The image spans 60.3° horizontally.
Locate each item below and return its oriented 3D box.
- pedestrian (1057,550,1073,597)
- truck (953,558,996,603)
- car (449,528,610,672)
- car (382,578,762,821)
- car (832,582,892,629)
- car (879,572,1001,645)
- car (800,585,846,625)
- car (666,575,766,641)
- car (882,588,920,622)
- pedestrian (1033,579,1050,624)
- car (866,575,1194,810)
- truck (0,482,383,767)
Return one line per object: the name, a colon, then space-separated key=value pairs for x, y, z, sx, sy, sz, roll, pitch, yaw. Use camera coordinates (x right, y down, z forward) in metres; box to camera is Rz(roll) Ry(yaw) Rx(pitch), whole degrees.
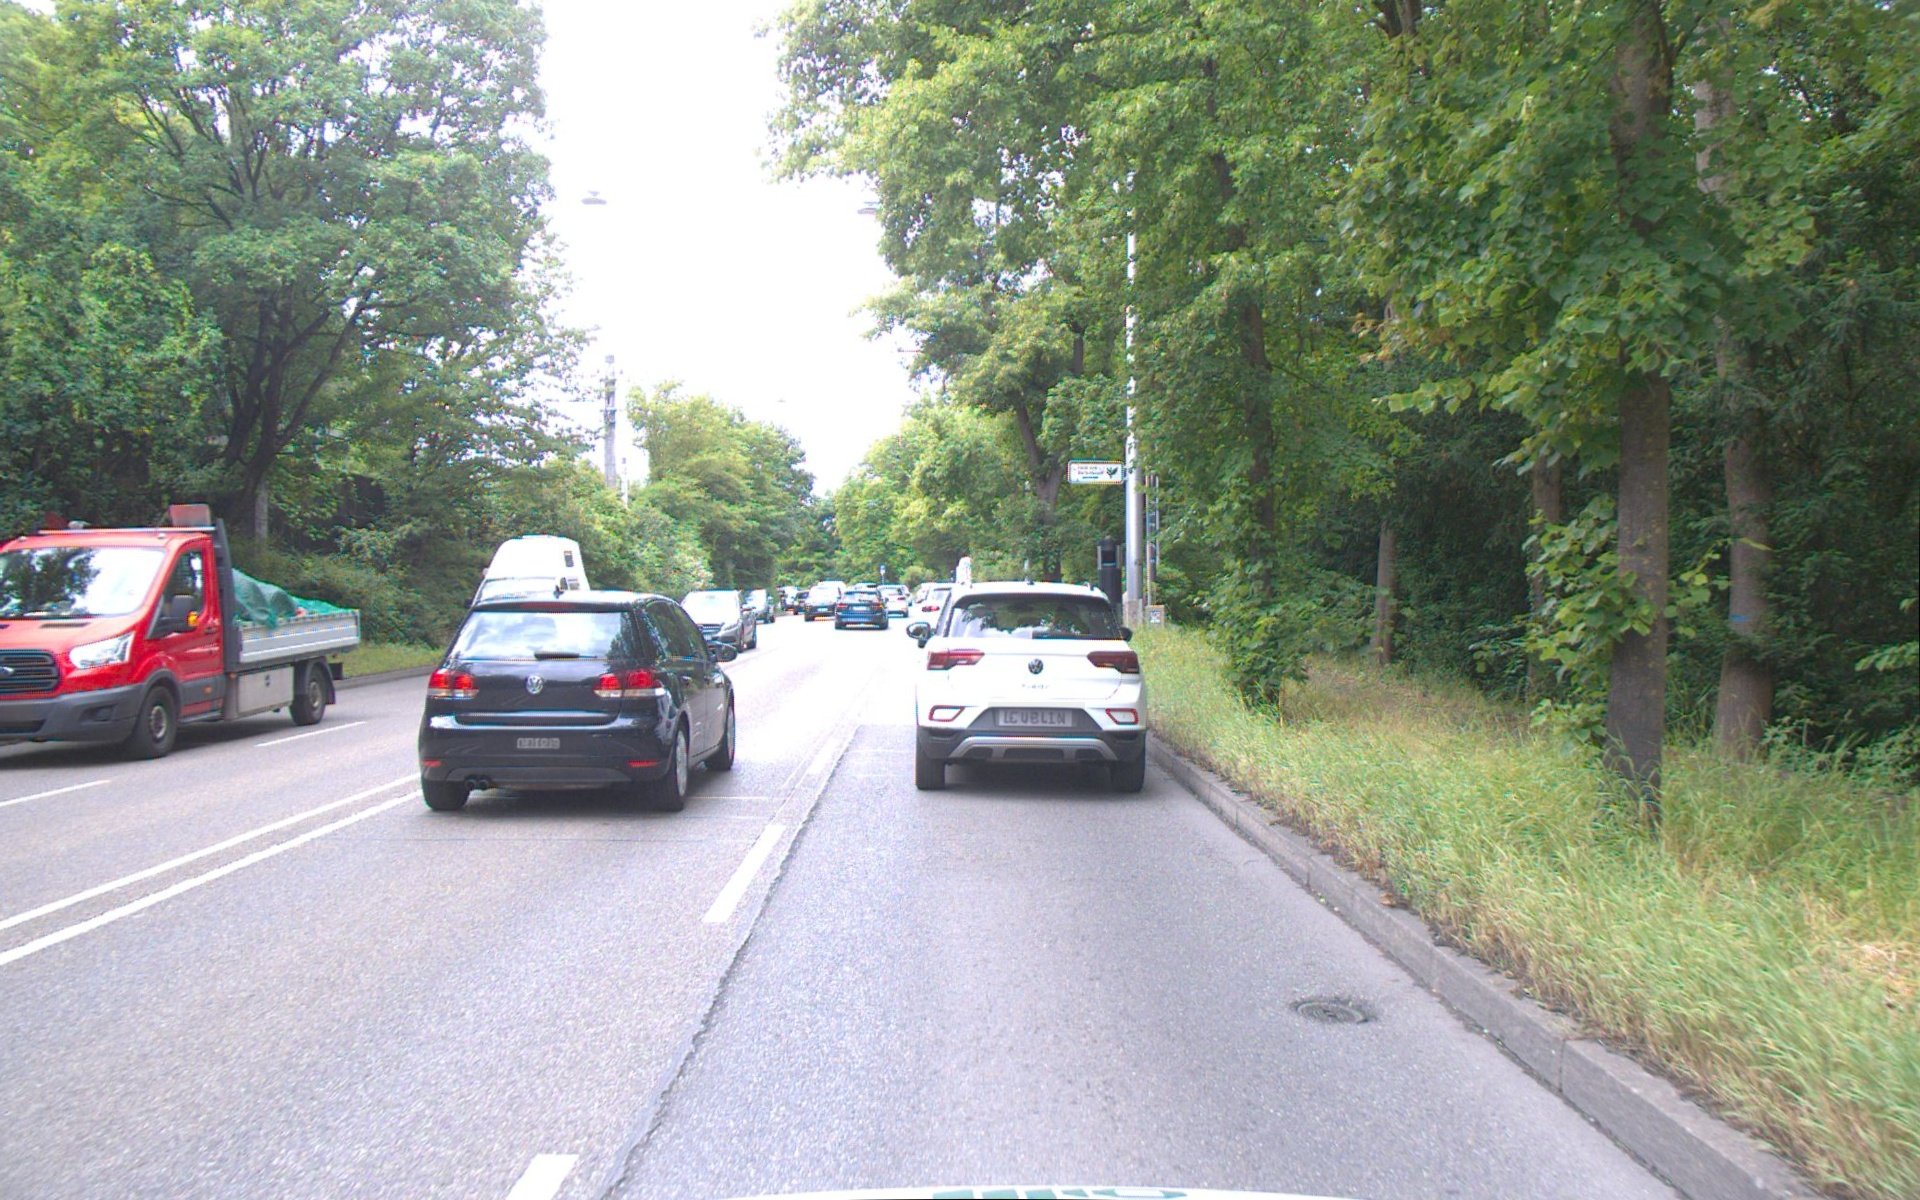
pedestrian: x=4.045 y=-1.030 z=63.655 sx=0.509 sy=1.784 sz=0.524 roll=1 pitch=0 yaw=-4
truck: x=1.035 y=-1.421 z=122.978 sx=2.434 sy=3.237 sz=7.219 roll=1 pitch=0 yaw=-6
car: x=-8.624 y=0.001 z=33.562 sx=1.849 sy=2.600 sz=4.914 roll=-4 pitch=0 yaw=0
car: x=-2.655 y=0.618 z=12.312 sx=1.910 sy=1.492 sz=3.999 roll=1 pitch=0 yaw=-1
car: x=-3.520 y=0.194 z=59.938 sx=1.953 sy=1.620 sz=3.999 roll=1 pitch=0 yaw=-1
car: x=-0.578 y=0.189 z=43.239 sx=1.826 sy=1.732 sz=3.973 roll=-3 pitch=2 yaw=-22
car: x=-6.532 y=0.257 z=79.239 sx=1.773 sy=1.691 sz=4.829 roll=-1 pitch=-3 yaw=0
car: x=-5.879 y=0.179 z=40.245 sx=1.801 sy=1.491 sz=4.465 roll=1 pitch=0 yaw=-1
car: x=-2.924 y=0.234 z=82.423 sx=1.784 sy=1.651 sz=3.999 roll=1 pitch=0 yaw=-1
pedestrian: x=3.122 y=0.053 z=63.446 sx=0.597 sy=1.727 sz=0.548 roll=1 pitch=0 yaw=-4
car: x=0.393 y=0.647 z=13.537 sx=1.963 sy=1.624 sz=3.992 roll=1 pitch=0 yaw=-9
truck: x=-8.496 y=0.245 z=17.772 sx=2.132 sy=2.453 sz=6.466 roll=-3 pitch=0 yaw=1
